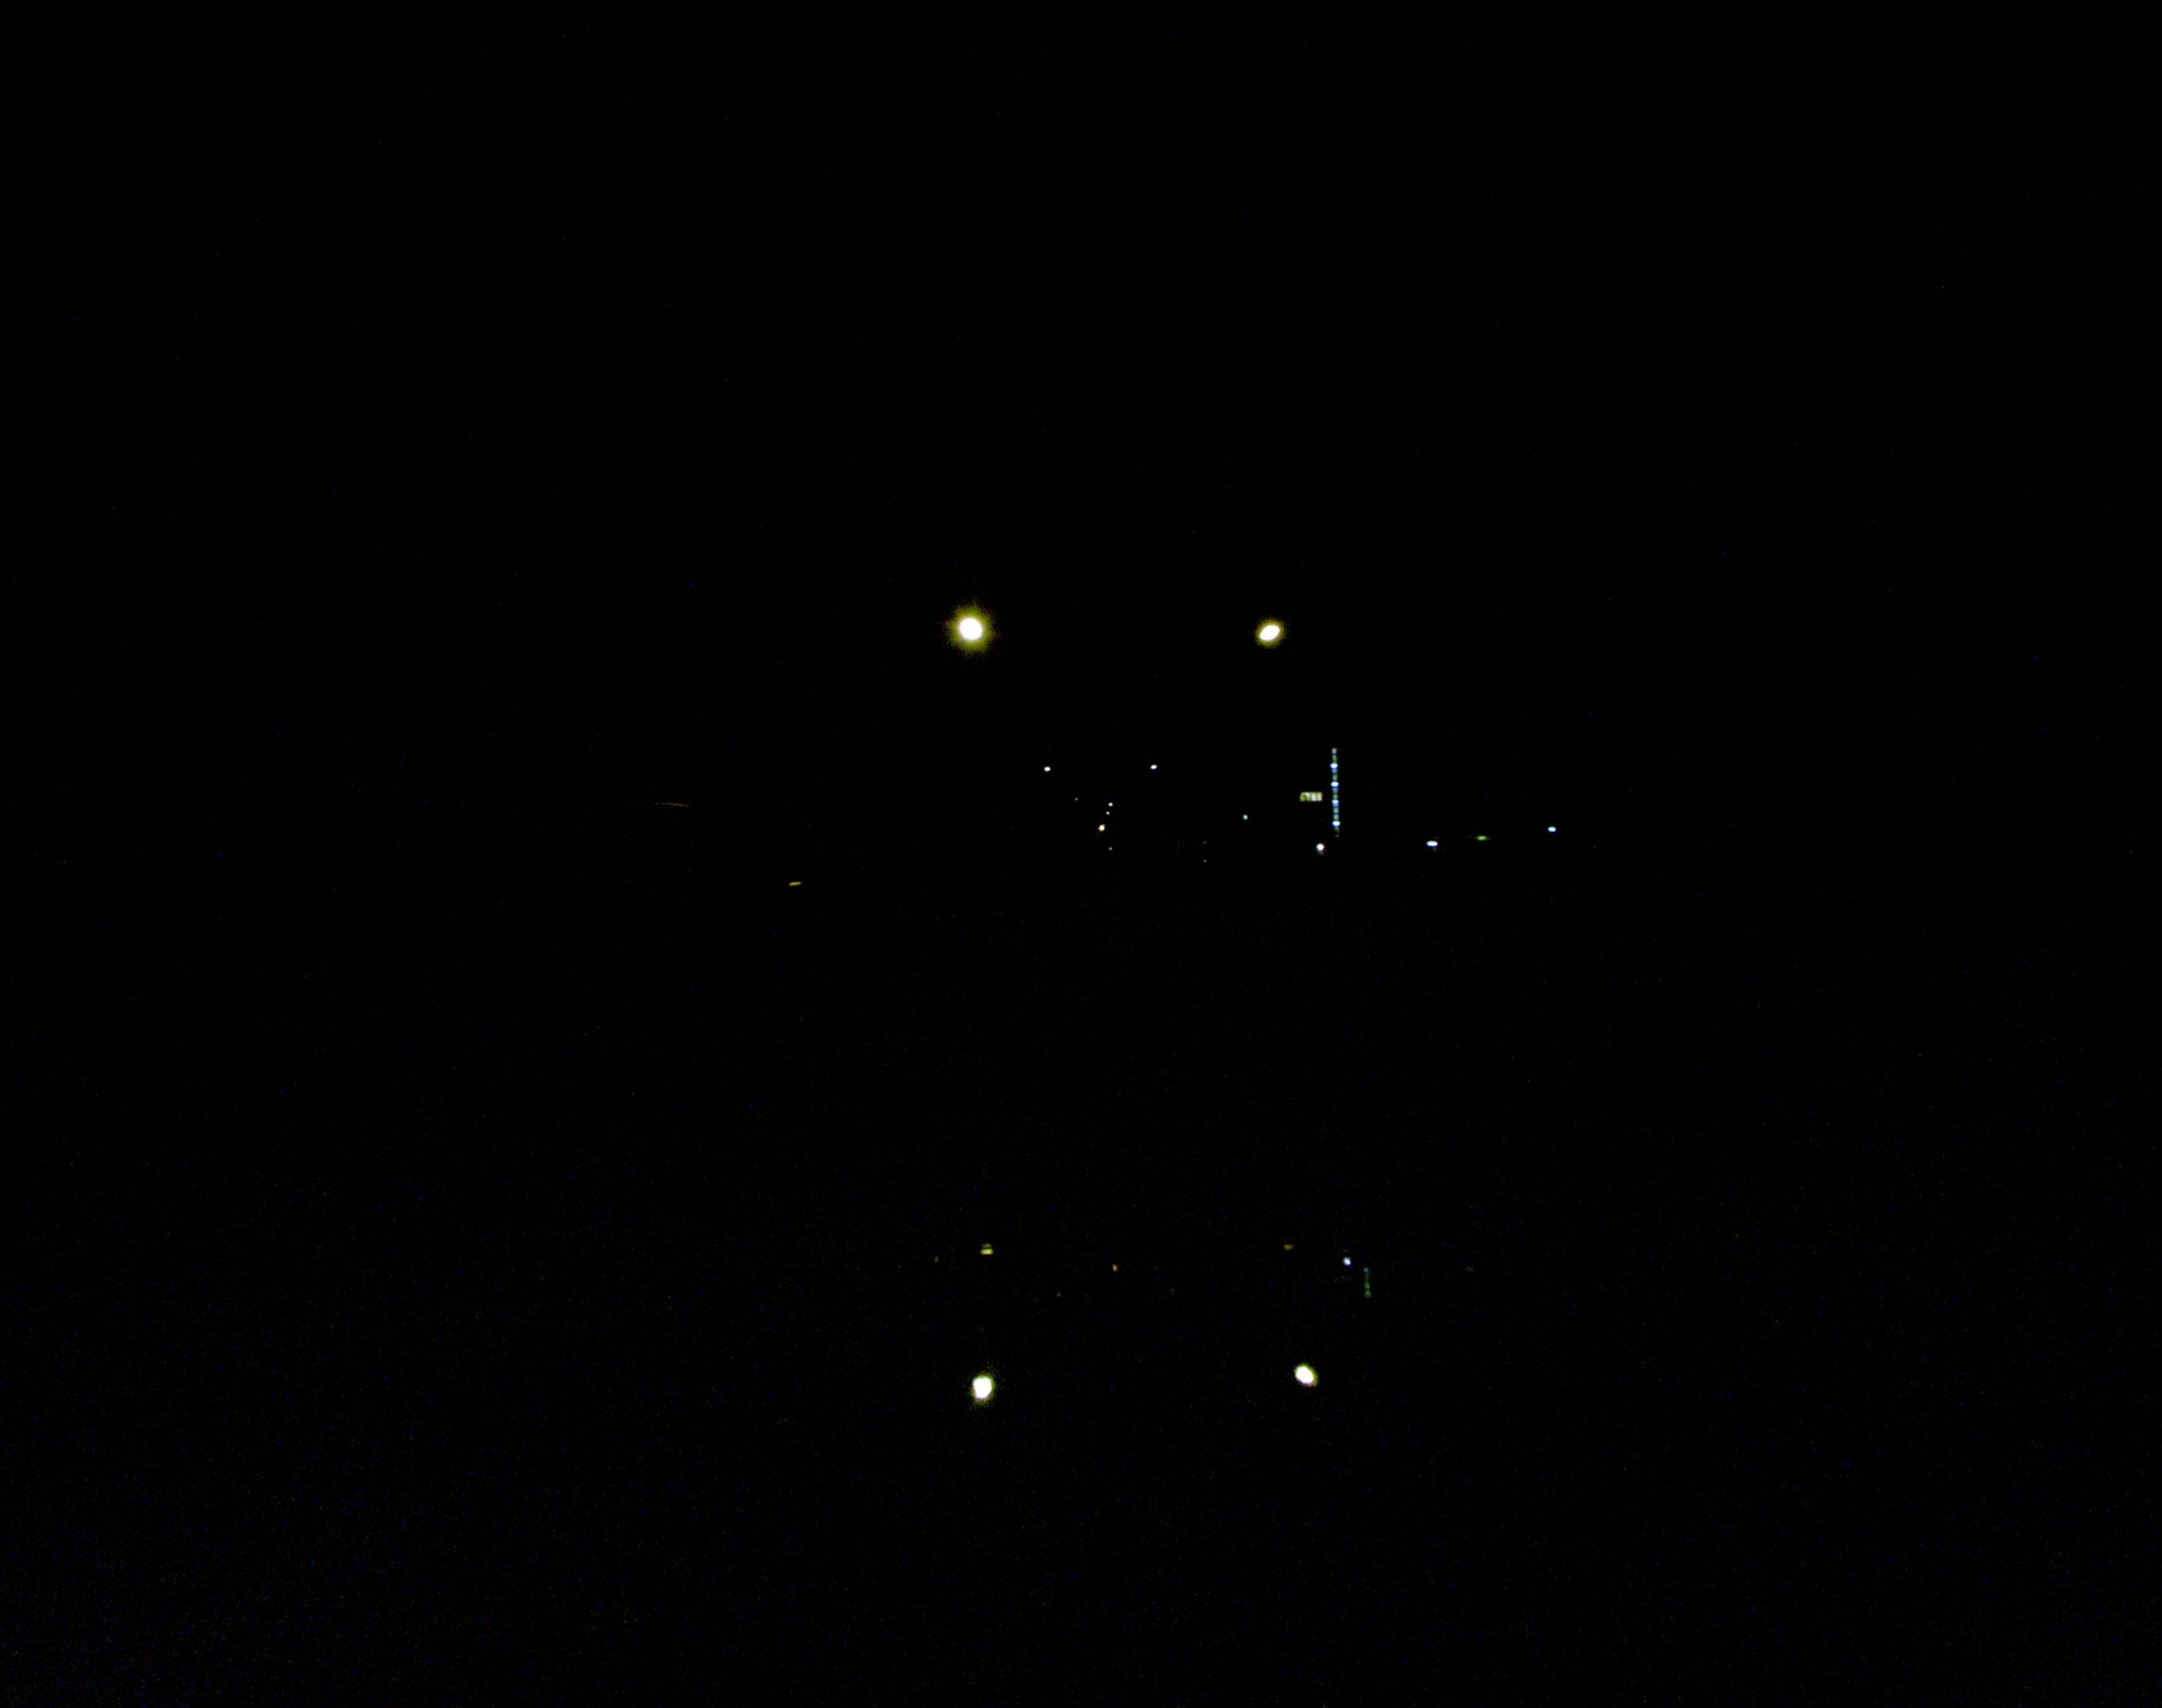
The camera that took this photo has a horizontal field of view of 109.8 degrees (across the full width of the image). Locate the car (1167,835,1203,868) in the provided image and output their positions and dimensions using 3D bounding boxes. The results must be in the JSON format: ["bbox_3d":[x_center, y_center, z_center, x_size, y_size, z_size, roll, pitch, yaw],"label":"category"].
[{"bbox_3d":[8.289,-0.171,61.068,1.999,2.429,5.744,-3,0,-1],"label":"car"}]

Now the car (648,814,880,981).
[{"bbox_3d":[-5.775,0.672,14.955,1.999,2.533,6.024,-3,0,-1],"label":"car"}]

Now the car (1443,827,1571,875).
[{"bbox_3d":[17.015,-0.113,30.464,3.997,1.455,1.806,-6,1,-2],"label":"car"}]

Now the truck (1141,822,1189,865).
[{"bbox_3d":[7.797,-0.932,71.927,2.829,3.610,10.398,-3,0,-3],"label":"truck"}]

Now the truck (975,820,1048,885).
[{"bbox_3d":[-4.491,-0.165,52.251,2.515,3.815,12.662,-3,0,5],"label":"truck"}]

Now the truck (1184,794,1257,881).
[{"bbox_3d":[7.735,-0.946,43.917,2.644,4.290,12.824,0,1,4],"label":"truck"}]

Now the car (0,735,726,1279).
[{"bbox_3d":[-5.892,0.731,6.789,1.945,2.533,6.647,-3,0,3],"label":"car"}]

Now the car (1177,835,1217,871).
[{"bbox_3d":[8.000,-0.088,52.929,2.145,2.299,4.468,-3,0,2],"label":"car"}]
